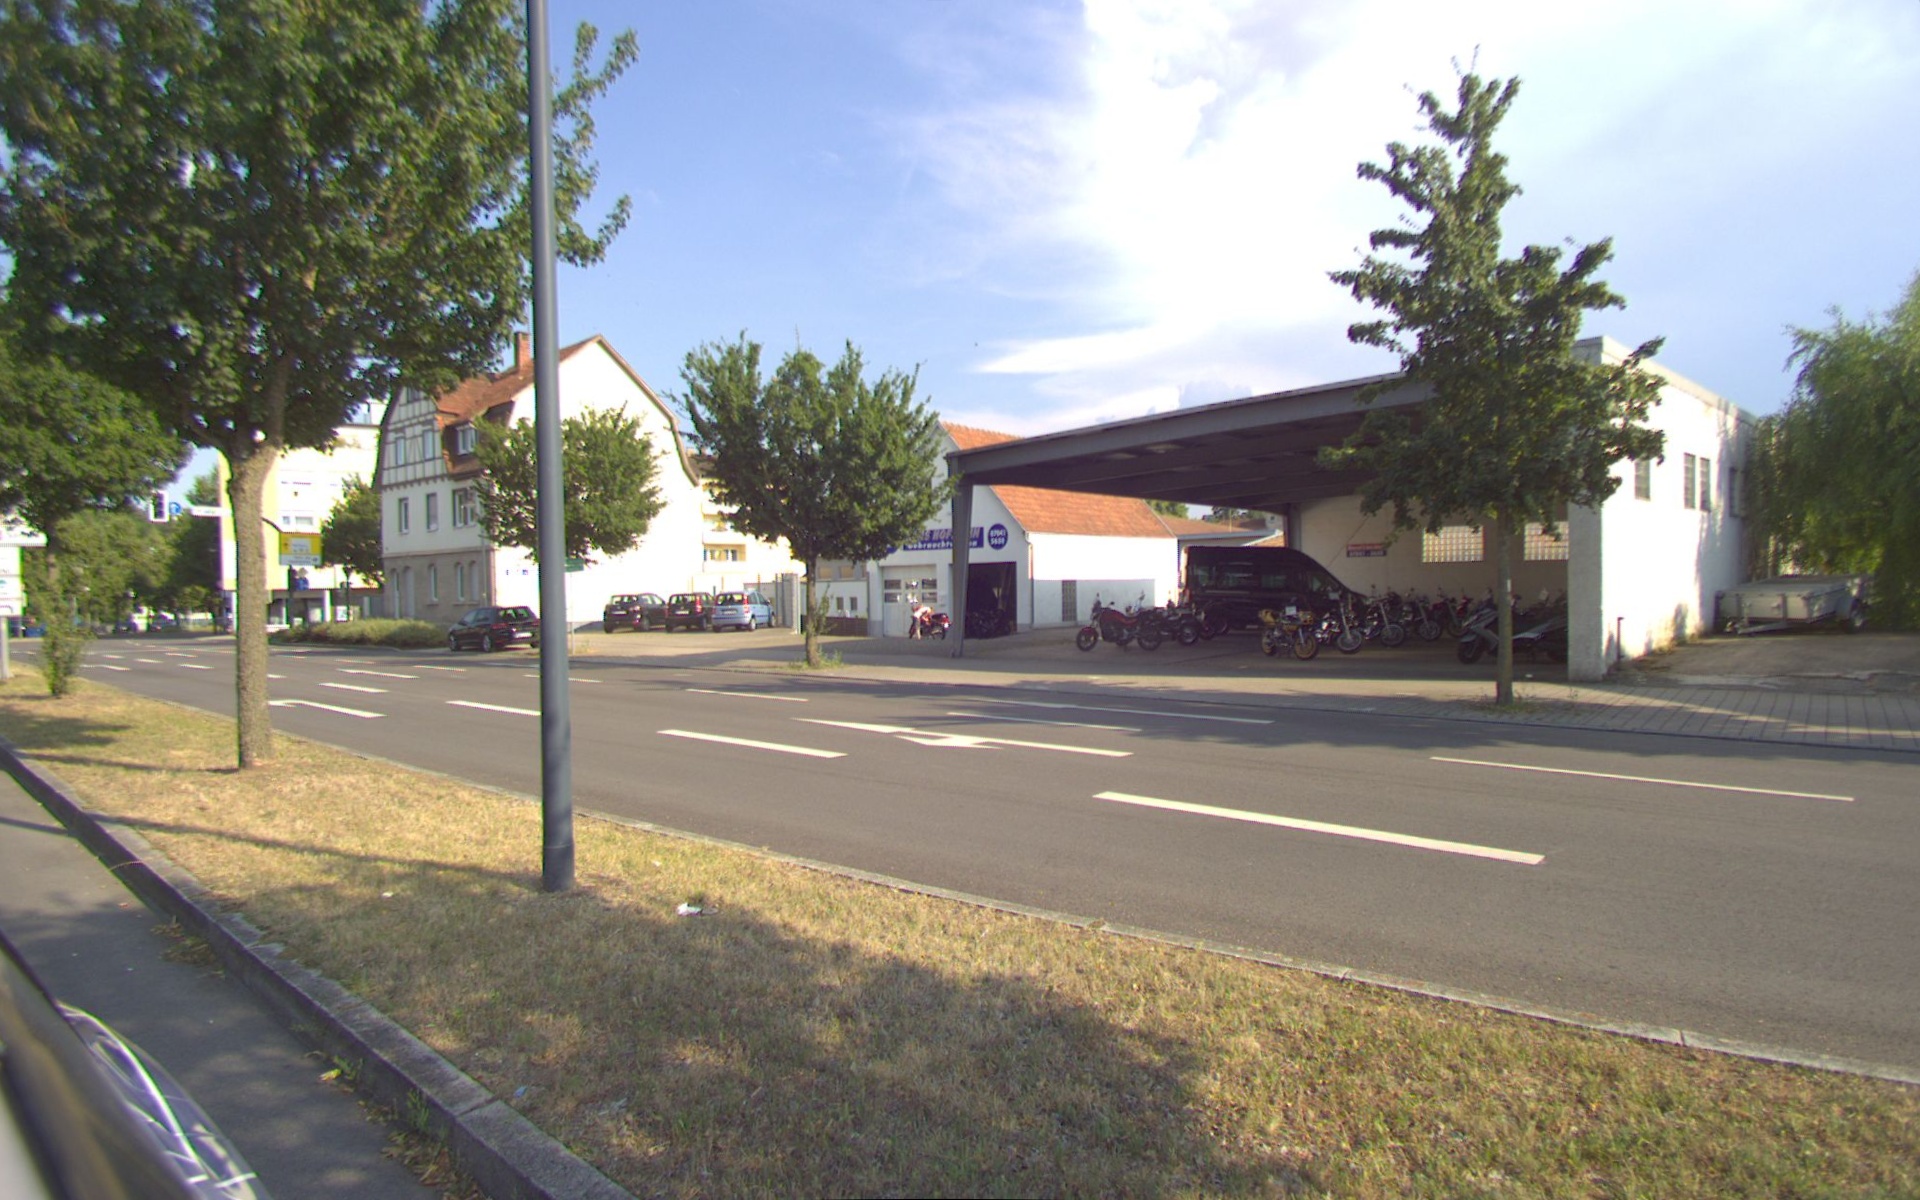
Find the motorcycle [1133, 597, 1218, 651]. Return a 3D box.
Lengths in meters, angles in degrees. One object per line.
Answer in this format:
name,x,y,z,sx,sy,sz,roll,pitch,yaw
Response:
motorcycle,5.544,0.625,26.091,2.095,1.332,0.487,-1,-1,9

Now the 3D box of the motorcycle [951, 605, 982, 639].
motorcycle,0.284,0.862,40.474,0.485,1.332,2.104,-2,0,21

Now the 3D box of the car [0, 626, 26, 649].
car,-81.978,3.190,86.837,1.786,1.886,4.012,0,0,-30

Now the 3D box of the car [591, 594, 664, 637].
car,-13.262,0.601,40.599,1.836,1.638,3.410,-1,0,0

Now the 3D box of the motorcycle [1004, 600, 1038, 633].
motorcycle,2.599,0.692,42.777,0.487,1.332,2.096,-2,-1,32

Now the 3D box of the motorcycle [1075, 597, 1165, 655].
motorcycle,3.853,0.633,24.441,2.096,1.332,0.487,-1,-1,11

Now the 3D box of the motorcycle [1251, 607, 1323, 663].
motorcycle,6.861,0.705,21.352,0.542,1.107,2.052,-1,0,-9

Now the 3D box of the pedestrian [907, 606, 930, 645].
pedestrian,-1.481,0.899,36.065,0.583,1.350,0.589,-1,0,34

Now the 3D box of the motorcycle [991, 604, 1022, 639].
motorcycle,1.874,0.837,40.265,0.485,1.332,2.102,-2,0,24

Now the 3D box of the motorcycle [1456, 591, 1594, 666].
motorcycle,10.213,0.524,18.349,2.074,1.310,0.523,-1,-1,15

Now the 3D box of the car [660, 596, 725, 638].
car,-10.638,0.664,40.481,1.566,1.576,3.429,-1,0,2

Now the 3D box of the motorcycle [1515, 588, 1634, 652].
motorcycle,13.087,0.436,21.611,2.074,1.310,0.523,-1,-1,15

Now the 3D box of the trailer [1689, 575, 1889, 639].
trailer,16.458,0.108,20.091,3.312,1.121,2.174,-2,1,-33

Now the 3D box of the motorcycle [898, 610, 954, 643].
motorcycle,-1.229,0.965,36.463,2.114,1.155,0.483,-2,-1,35

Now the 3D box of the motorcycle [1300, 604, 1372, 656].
motorcycle,8.492,0.658,22.949,0.542,1.107,2.052,-1,0,-9

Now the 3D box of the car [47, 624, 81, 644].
car,-99.574,3.740,112.542,1.789,2.029,4.013,0,0,-25

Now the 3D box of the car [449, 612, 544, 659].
car,-15.235,1.124,33.203,3.433,1.327,1.650,-1,3,45

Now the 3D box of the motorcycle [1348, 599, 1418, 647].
motorcycle,10.291,0.552,24.724,0.542,1.107,2.052,-1,0,-9

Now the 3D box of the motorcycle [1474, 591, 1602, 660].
motorcycle,11.347,0.507,19.926,2.074,1.310,0.523,-1,-1,15

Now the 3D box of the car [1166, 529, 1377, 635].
car,9.359,-0.503,31.039,5.734,2.982,2.670,-1,0,9

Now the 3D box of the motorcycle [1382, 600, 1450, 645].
motorcycle,11.865,0.576,26.391,0.542,1.107,2.052,-1,0,-9

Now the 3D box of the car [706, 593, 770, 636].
car,-8.424,0.569,38.663,1.599,1.555,3.429,-1,-1,2

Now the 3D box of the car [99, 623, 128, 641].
car,-103.136,3.866,123.345,1.966,2.029,4.012,0,0,-30

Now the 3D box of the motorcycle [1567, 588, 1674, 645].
motorcycle,15.887,0.403,24.385,2.074,1.310,0.523,-1,-1,15

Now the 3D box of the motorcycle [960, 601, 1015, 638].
motorcycle,1.032,0.710,38.124,2.082,1.332,0.490,-1,-1,-27

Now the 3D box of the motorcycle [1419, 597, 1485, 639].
motorcycle,13.630,0.496,28.122,0.542,1.107,2.052,-1,0,-9

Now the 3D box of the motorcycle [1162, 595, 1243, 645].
motorcycle,6.669,0.543,27.885,2.090,1.332,0.488,-1,-1,1
